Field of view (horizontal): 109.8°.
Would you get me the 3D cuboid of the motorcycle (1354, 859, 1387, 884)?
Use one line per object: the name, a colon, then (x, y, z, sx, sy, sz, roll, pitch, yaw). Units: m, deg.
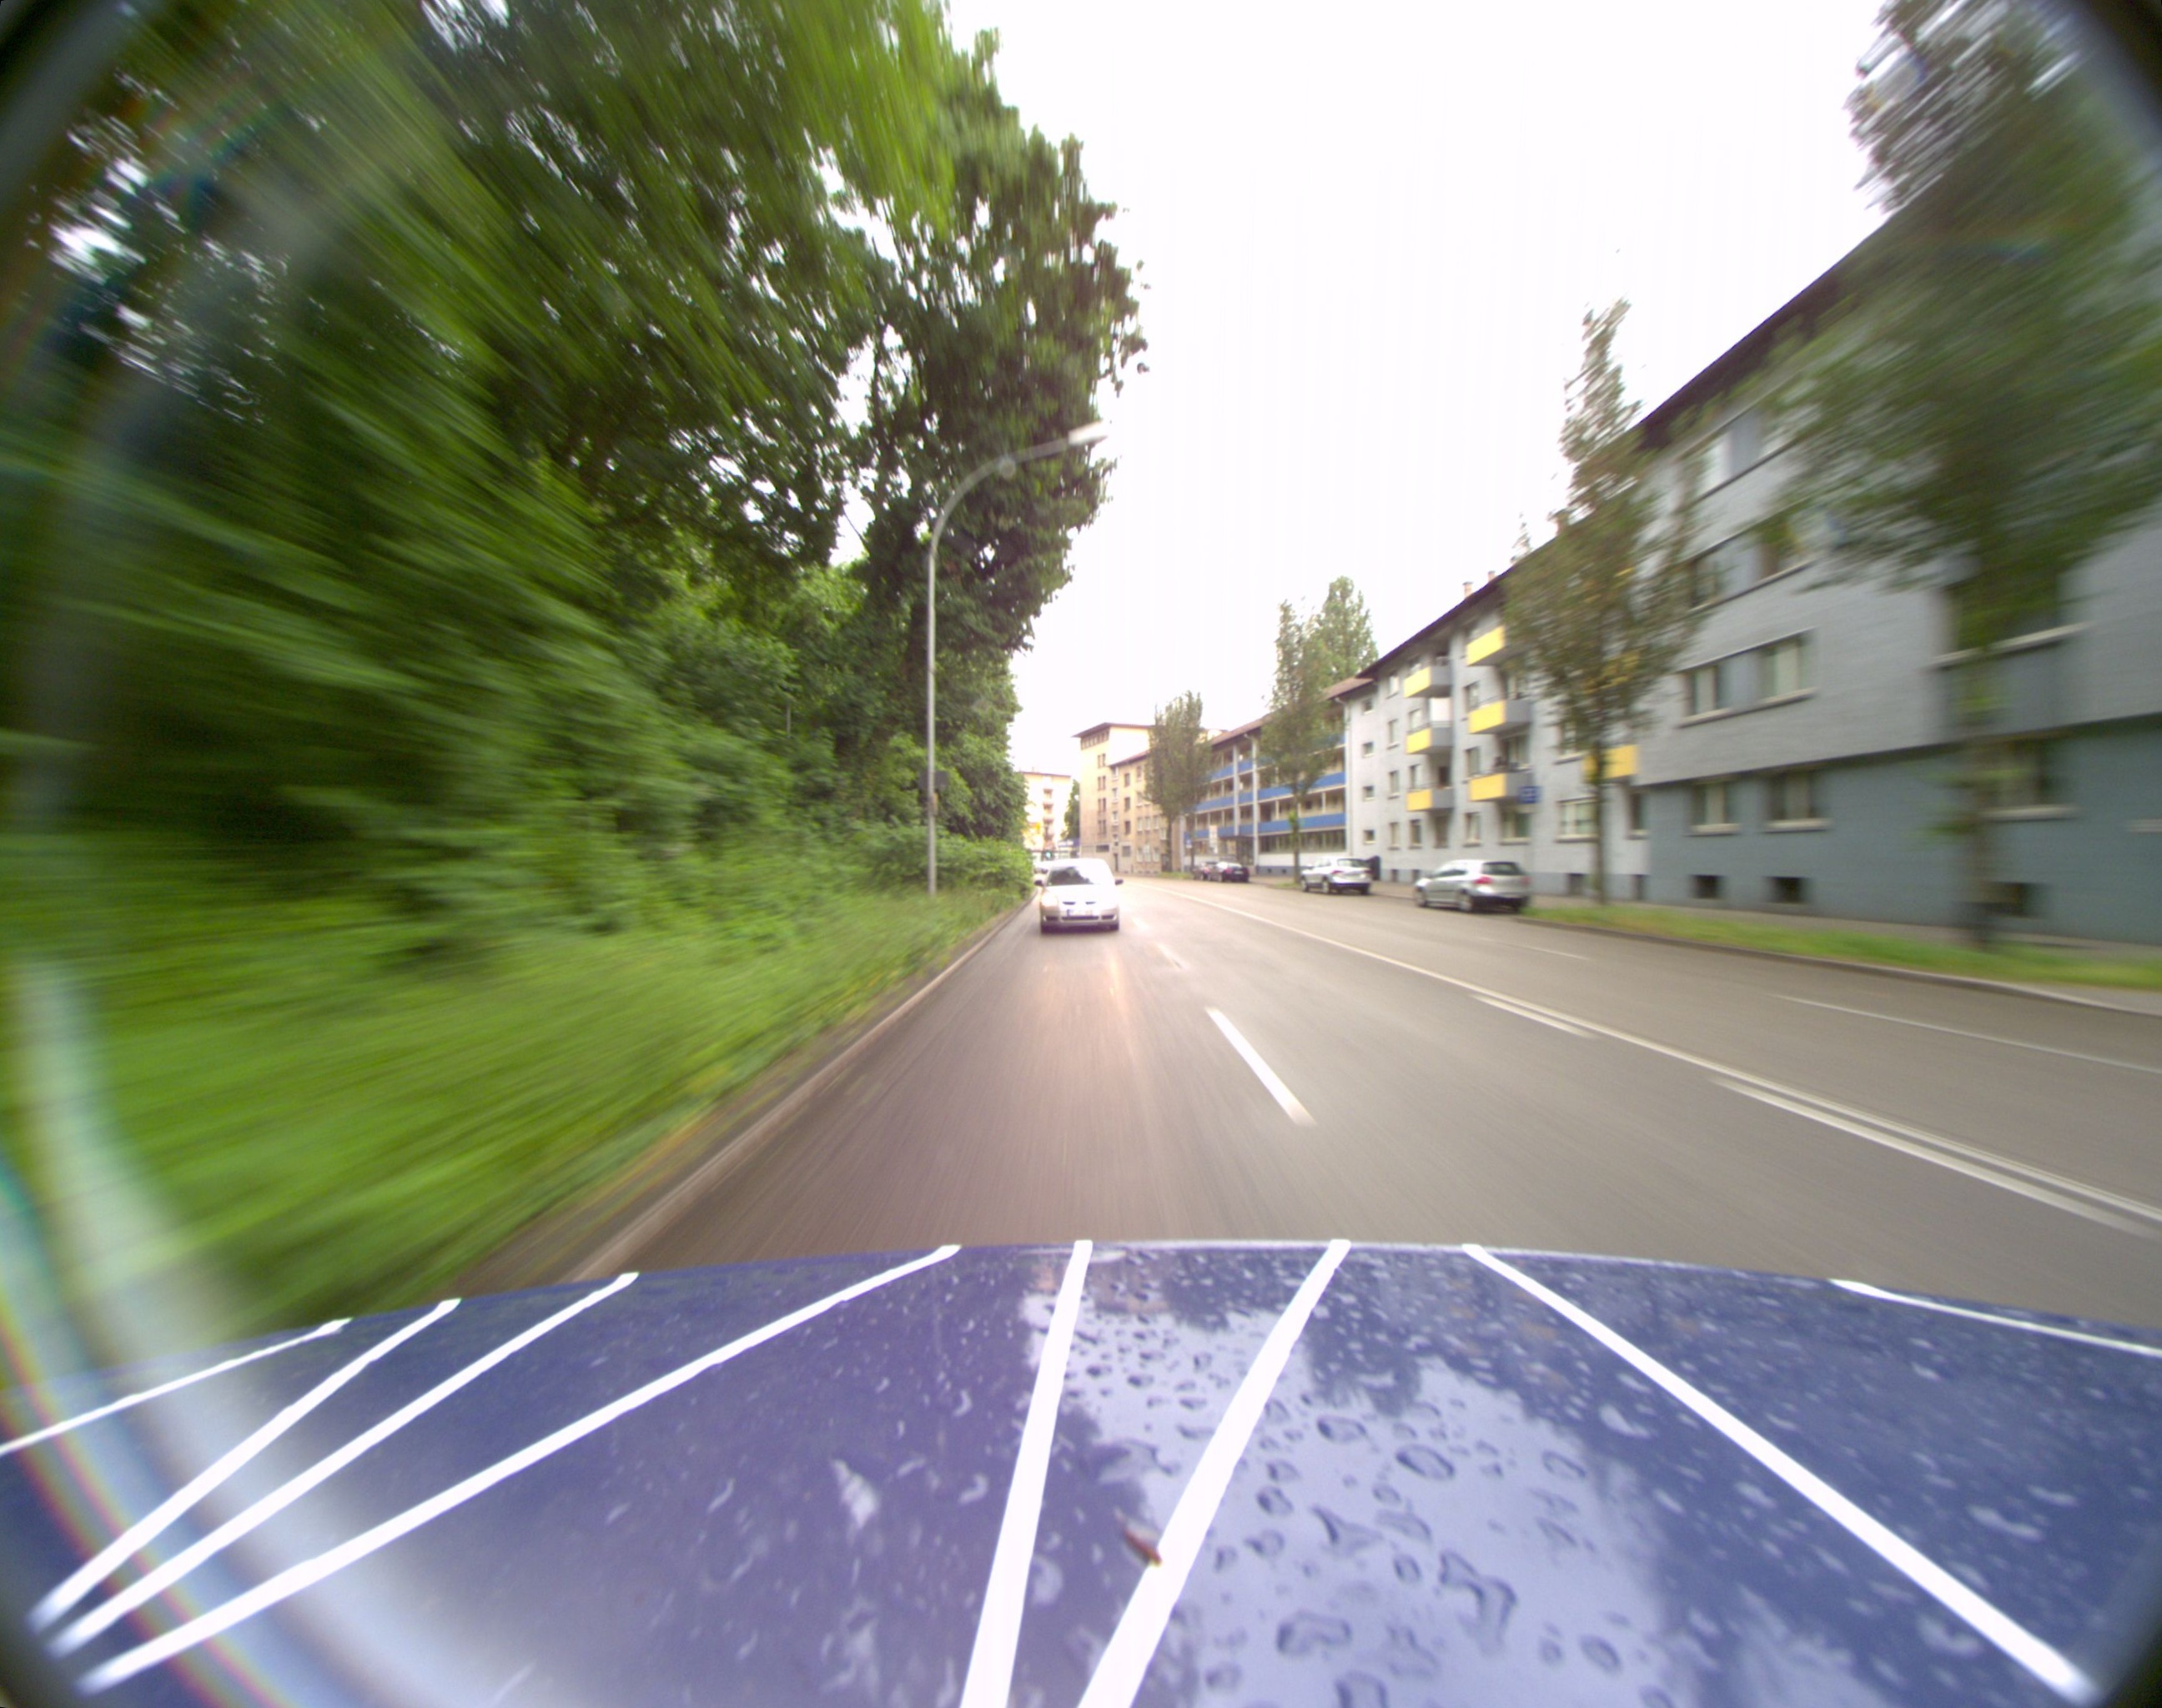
motorcycle: (16.979, 1.038, 44.677, 0.677, 1.406, 2.234, -3, 0, -11)

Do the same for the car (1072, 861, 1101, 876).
car: (0.529, 1.463, 77.595, 1.759, 1.417, 4.531, 0, -1, -15)

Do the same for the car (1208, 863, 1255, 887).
car: (10.115, 1.386, 51.404, 1.826, 1.431, 4.890, 1, 0, -4)

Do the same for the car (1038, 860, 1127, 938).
car: (-0.064, 0.925, 17.365, 1.753, 1.510, 3.999, -2, 0, -3)

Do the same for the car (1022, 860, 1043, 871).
car: (-6.432, 1.485, 100.420, 1.687, 1.439, 3.814, 1, -1, -20)

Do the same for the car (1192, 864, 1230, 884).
car: (9.736, 1.508, 57.178, 1.785, 1.394, 4.087, 1, -1, -5)

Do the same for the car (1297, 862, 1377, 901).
car: (11.054, 1.146, 33.168, 1.769, 1.594, 4.532, 0, 0, -3)

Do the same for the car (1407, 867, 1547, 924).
car: (11.303, 1.112, 22.054, 1.729, 1.444, 4.204, 0, 0, -3)

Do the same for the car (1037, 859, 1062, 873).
car: (-3.766, 1.422, 90.515, 1.827, 1.507, 5.021, 1, -1, -16)
